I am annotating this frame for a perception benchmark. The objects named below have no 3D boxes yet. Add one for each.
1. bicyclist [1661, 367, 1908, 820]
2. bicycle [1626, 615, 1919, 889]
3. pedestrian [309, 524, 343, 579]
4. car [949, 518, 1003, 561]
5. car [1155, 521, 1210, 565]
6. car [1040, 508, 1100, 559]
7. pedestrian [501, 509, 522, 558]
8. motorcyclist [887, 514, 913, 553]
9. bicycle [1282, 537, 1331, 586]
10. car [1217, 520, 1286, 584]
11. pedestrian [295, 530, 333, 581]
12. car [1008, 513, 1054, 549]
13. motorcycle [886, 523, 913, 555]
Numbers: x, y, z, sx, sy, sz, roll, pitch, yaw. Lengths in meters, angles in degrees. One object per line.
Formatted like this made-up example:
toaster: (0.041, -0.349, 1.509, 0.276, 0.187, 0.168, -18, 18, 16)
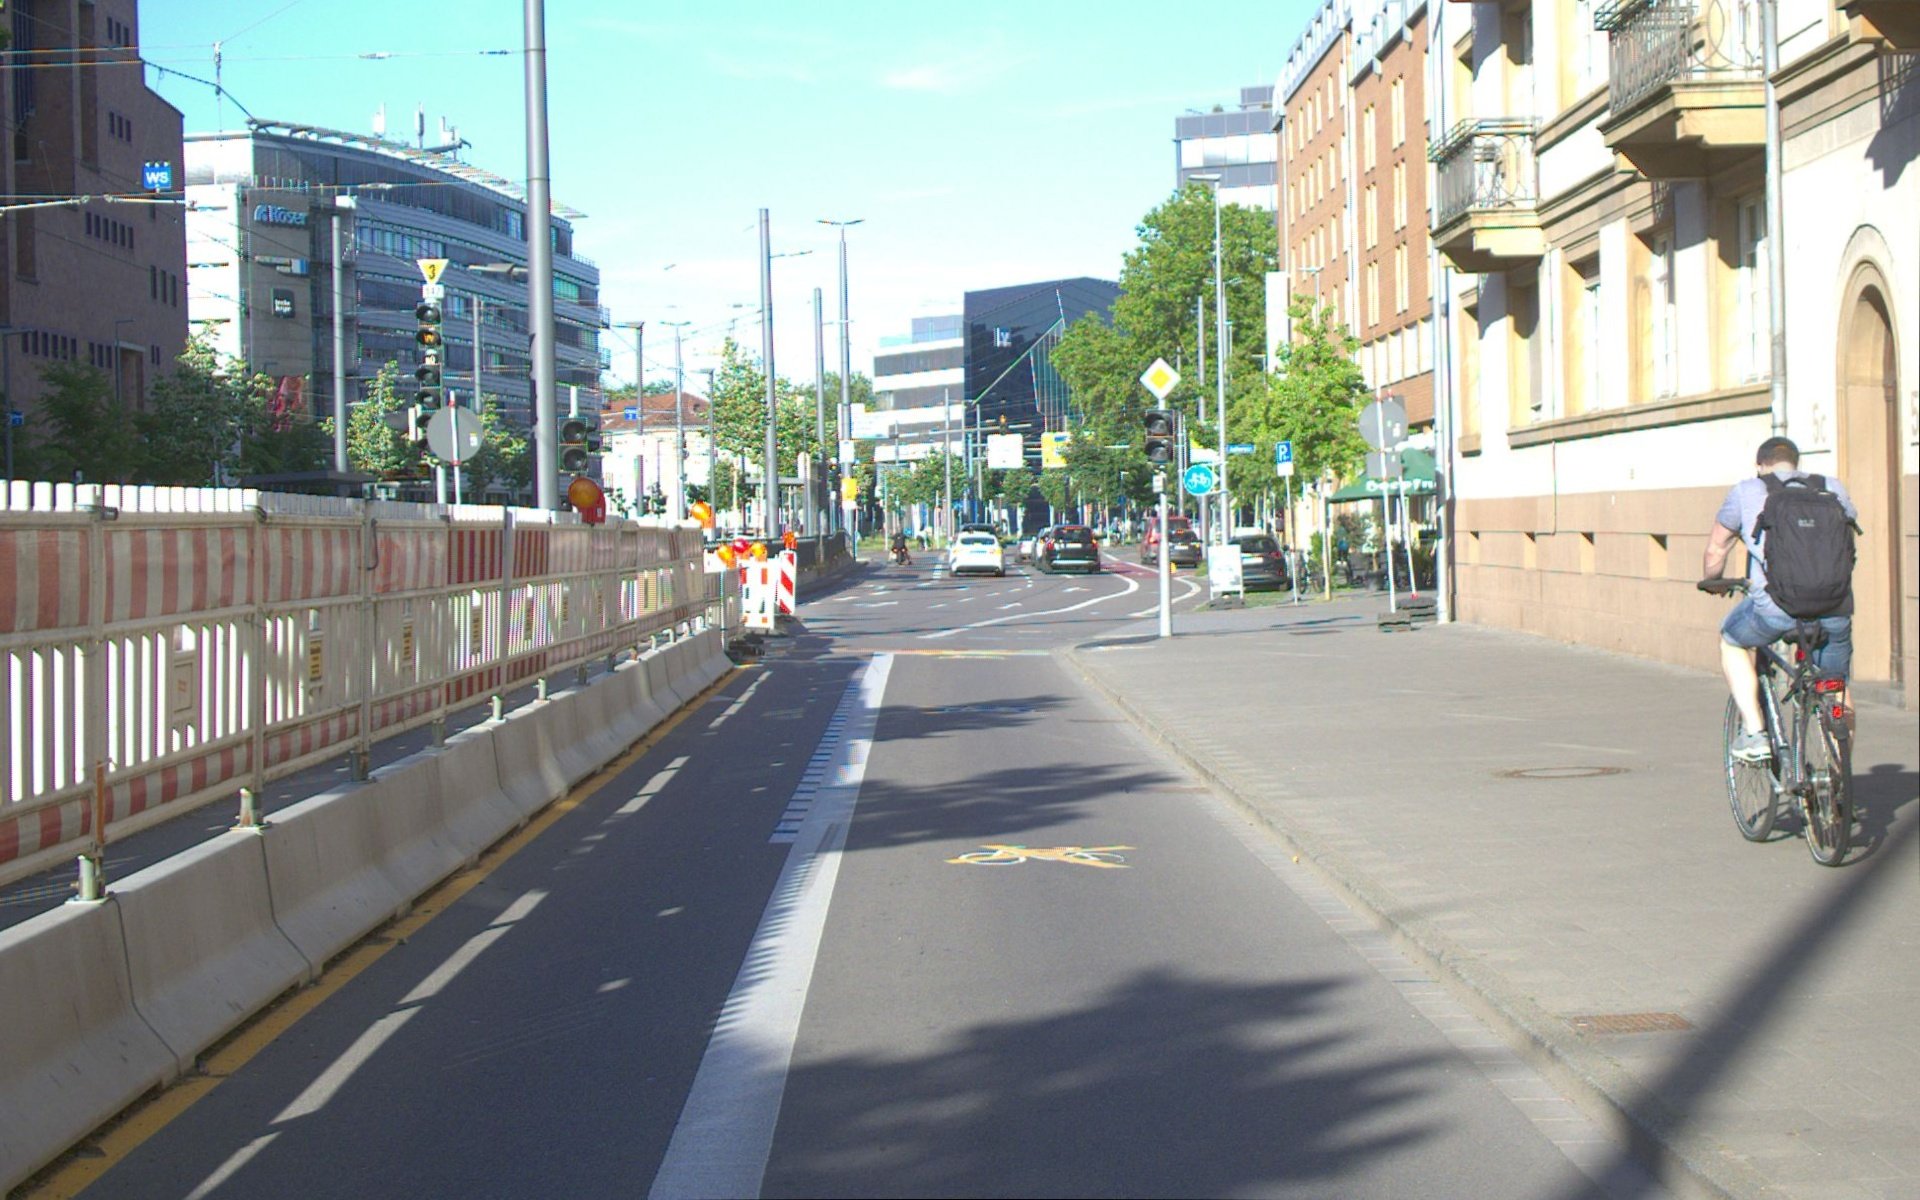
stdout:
bicyclist: (3.318, -0.035, 13.903, 0.733, 1.757, 0.938, -1, 1, -1)
bicycle: (3.329, 0.574, 13.973, 0.767, 0.949, 2.198, -1, 1, -1)
pedestrian: (-15.588, -1.200, 84.557, 0.646, 1.304, 0.721, -3, 1, 0)
car: (0.520, -2.065, 116.130, 1.780, 1.409, 4.819, 1, 1, 0)
car: (8.657, -2.233, 134.034, 1.846, 1.555, 4.633, 1, 3, 0)
car: (3.869, -2.378, 121.765, 1.975, 1.753, 4.633, 1, 1, 0)
pedestrian: (-15.593, -2.326, 119.614, 0.640, 1.690, 0.541, 1, 1, 0)
motorcyclist: (-2.491, -2.750, 141.984, 1.019, 1.598, 1.148, 1, 1, 0)
bicycle: (8.344, -0.911, 82.805, 0.765, 1.077, 1.998, -6, 0, -3)
car: (7.880, -1.303, 92.737, 1.721, 1.631, 4.230, -2, 1, 6)
pedestrian: (-15.507, -1.074, 82.519, 0.721, 1.164, 0.721, -3, 1, 0)
car: (3.008, -2.938, 146.510, 1.851, 1.492, 4.379, -1, 1, 0)
motorcycle: (-2.488, -2.531, 141.923, 1.019, 1.307, 2.915, 1, 1, 0)
